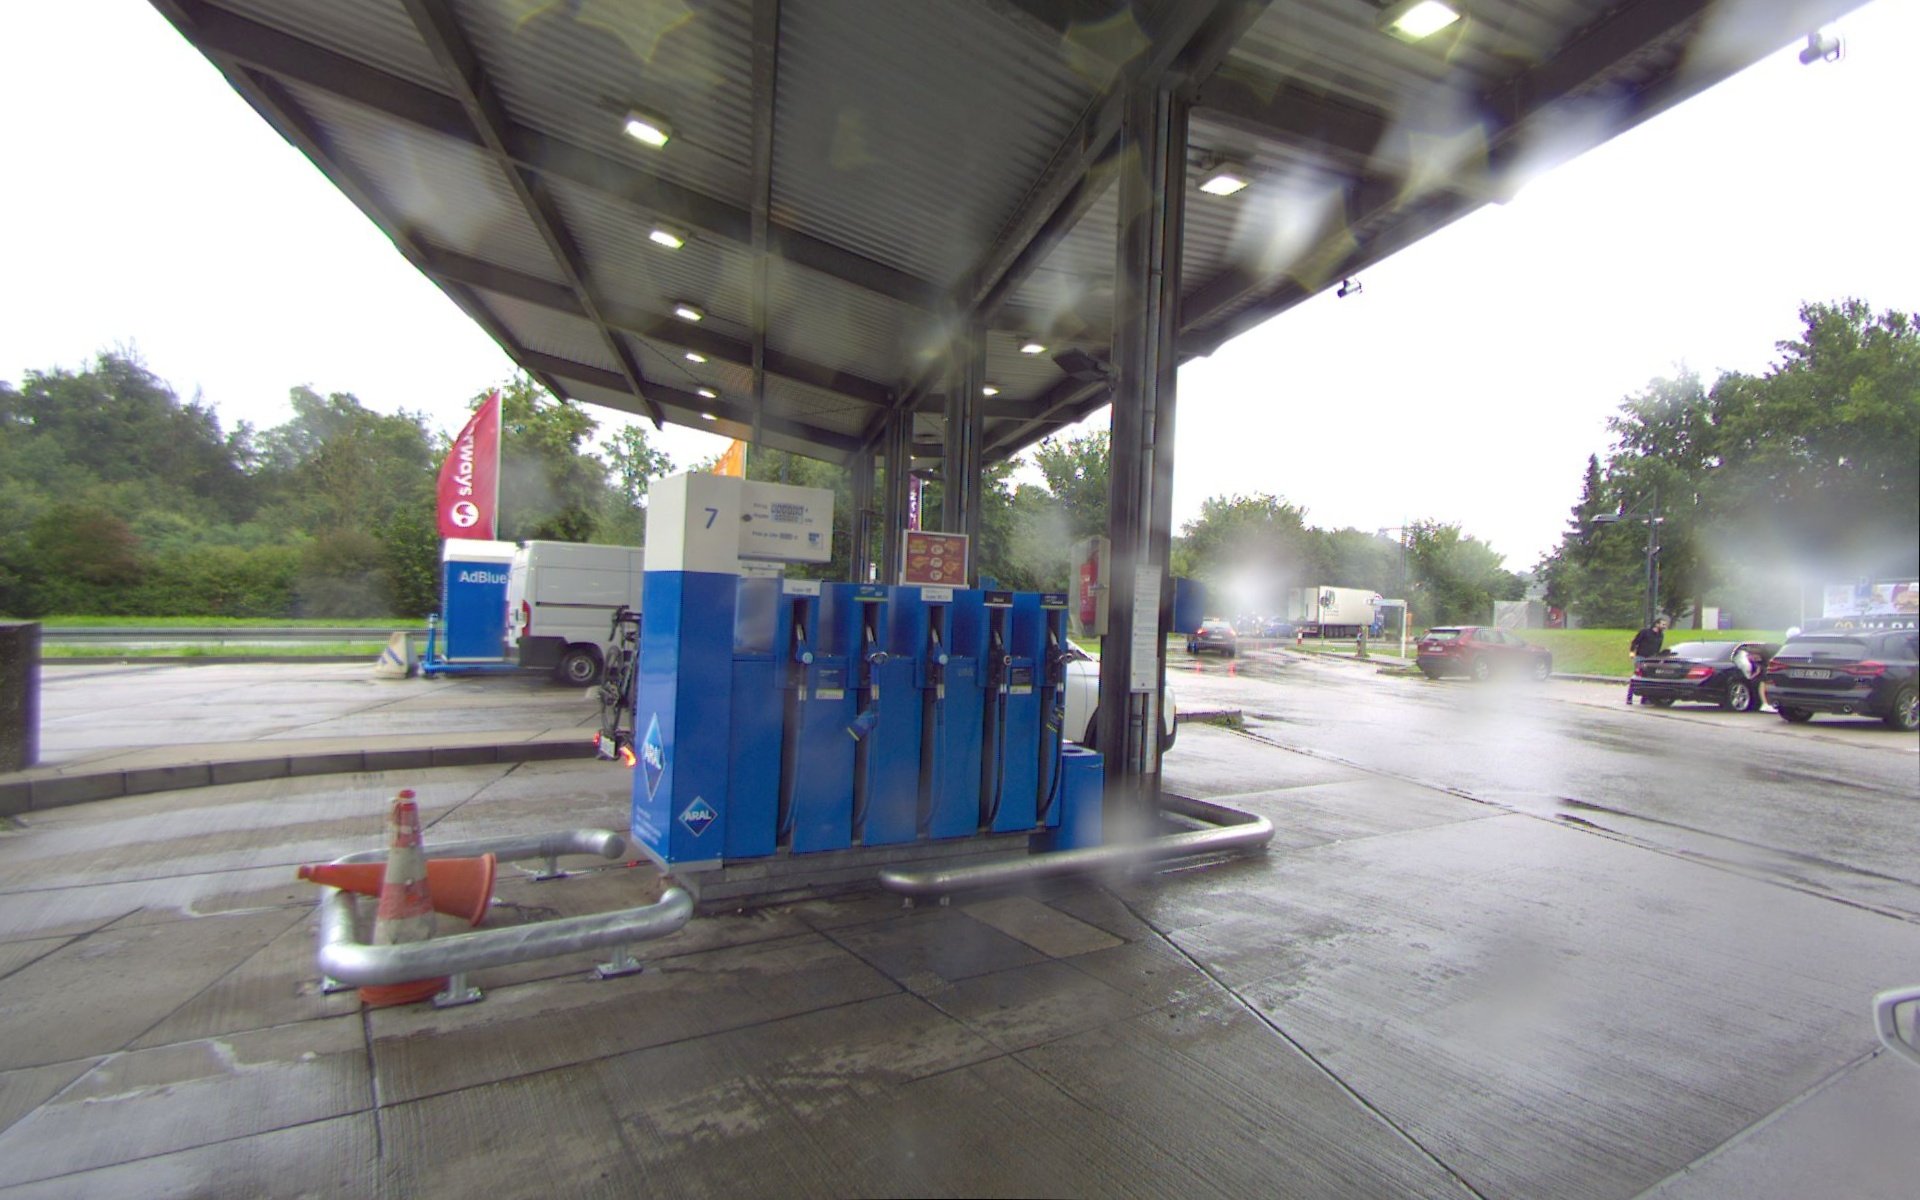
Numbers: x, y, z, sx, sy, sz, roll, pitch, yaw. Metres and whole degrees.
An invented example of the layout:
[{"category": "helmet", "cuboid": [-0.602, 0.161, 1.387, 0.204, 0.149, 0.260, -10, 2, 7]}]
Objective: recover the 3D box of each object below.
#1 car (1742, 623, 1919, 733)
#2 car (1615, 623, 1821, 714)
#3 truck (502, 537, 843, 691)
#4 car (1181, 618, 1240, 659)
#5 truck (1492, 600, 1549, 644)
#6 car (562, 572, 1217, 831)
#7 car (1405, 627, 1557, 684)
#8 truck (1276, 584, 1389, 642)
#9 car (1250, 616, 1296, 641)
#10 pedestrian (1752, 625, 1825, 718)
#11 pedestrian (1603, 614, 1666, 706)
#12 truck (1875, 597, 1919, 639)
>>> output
[{"category": "car", "cuboid": [16.173, 1.273, 17.465, 4.274, 1.734, 2.016, 1, -1, -18]}, {"category": "car", "cuboid": [15.943, 1.359, 21.088, 4.293, 1.734, 2.007, 1, -2, -31]}, {"category": "truck", "cuboid": [-5.337, 0.296, 18.937, 5.793, 2.527, 2.221, 2, 0, -30]}, {"category": "car", "cuboid": [11.176, 1.702, 45.069, 1.960, 1.700, 4.002, 2, -1, 5]}, {"category": "truck", "cuboid": [42.656, 1.672, 76.304, 2.447, 3.126, 7.323, 2, 0, 40]}, {"category": "car", "cuboid": [-0.424, 0.703, 8.456, 5.210, 1.629, 1.852, 2, 0, -30]}, {"category": "car", "cuboid": [16.077, 1.673, 30.999, 4.283, 1.666, 1.933, 1, -2, -25]}, {"category": "truck", "cuboid": [31.879, 1.191, 85.149, 3.498, 4.397, 16.922, 2, 0, 40]}, {"category": "car", "cuboid": [22.903, 2.067, 73.434, 1.787, 1.704, 3.934, 2, 0, 40]}, {"category": "pedestrian", "cuboid": [15.385, 1.303, 18.675, 0.938, 1.653, 0.702, 2, 0, 34]}, {"category": "pedestrian", "cuboid": [14.515, 1.270, 21.638, 0.690, 1.912, 0.893, 2, 0, -3]}, {"category": "truck", "cuboid": [68.854, 1.325, 71.699, 5.285, 2.959, 2.191, 2, 0, -5]}]
